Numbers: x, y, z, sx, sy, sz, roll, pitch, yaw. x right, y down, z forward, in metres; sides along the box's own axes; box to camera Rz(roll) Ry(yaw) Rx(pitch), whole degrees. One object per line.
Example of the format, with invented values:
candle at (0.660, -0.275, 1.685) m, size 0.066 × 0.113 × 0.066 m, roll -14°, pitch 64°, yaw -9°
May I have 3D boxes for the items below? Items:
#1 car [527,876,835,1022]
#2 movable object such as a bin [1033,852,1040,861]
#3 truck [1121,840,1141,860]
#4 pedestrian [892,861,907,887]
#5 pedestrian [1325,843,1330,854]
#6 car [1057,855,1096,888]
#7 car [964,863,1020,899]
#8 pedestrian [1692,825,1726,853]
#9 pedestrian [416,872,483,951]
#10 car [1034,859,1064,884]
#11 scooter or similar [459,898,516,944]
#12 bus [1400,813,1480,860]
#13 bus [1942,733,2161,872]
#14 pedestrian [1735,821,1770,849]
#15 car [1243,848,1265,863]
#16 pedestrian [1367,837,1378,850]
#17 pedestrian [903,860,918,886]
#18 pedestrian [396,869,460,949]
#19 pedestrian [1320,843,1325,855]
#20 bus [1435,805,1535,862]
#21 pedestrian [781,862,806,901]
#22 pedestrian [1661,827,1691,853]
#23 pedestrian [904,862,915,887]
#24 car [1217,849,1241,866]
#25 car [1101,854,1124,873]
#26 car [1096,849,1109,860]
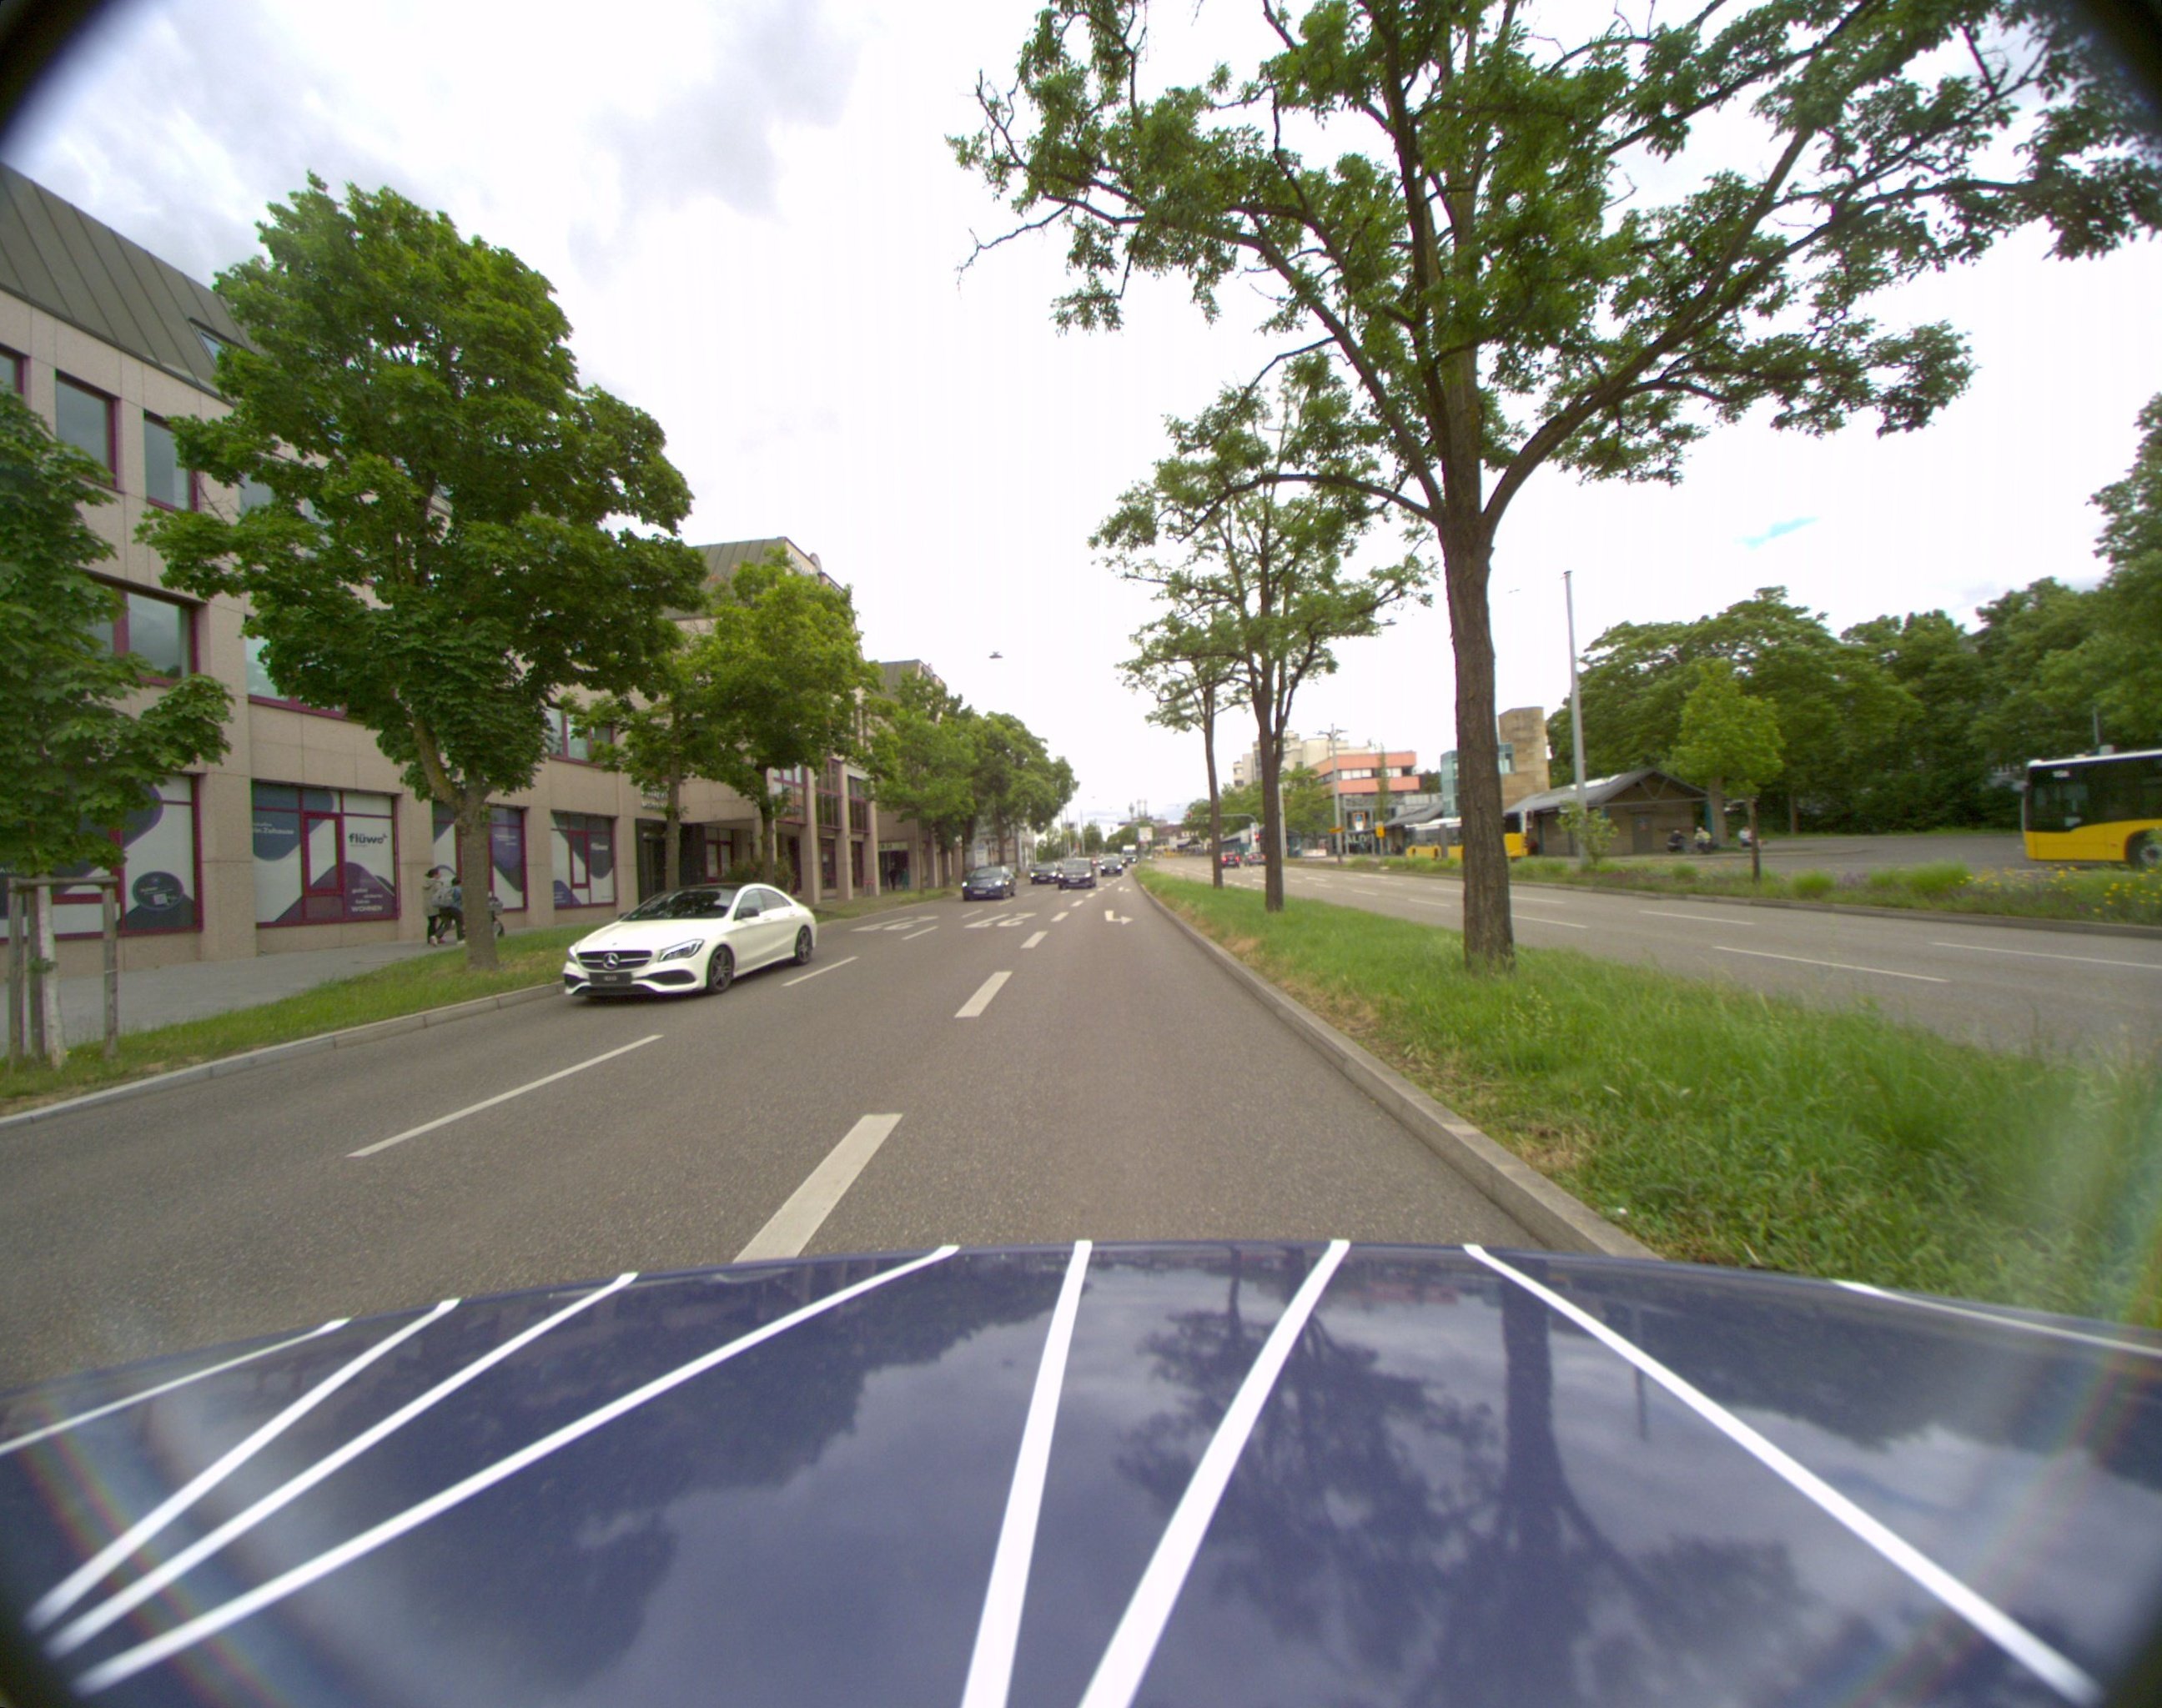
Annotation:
car at (-5.461, 1.195, 11.263) m, size 1.798 × 1.464 × 4.700 m, roll -3°, pitch 0°, yaw 3°
movable object such as a bin at (-5.236, 0.291, 89.574) m, size 0.627 × 1.097 × 0.710 m, roll -3°, pitch 0°, yaw 5°
truck at (8.808, -0.723, 134.681) m, size 3.118 × 3.209 × 6.524 m, roll -4°, pitch 1°, yaw 1°
pedestrian at (-12.071, 1.318, 50.541) m, size 0.659 × 1.681 × 0.843 m, roll -1°, pitch 1°, yaw 5°
pedestrian at (33.248, -0.733, 102.368) m, size 0.485 × 1.539 × 0.383 m, roll -3°, pitch 0°, yaw -6°
car at (-0.247, 0.920, 41.311) m, size 1.972 × 1.631 × 4.312 m, roll -1°, pitch 0°, yaw 0°
car at (-3.844, 1.132, 33.421) m, size 1.972 × 1.430 × 4.312 m, roll -1°, pitch 0°, yaw 0°
pedestrian at (30.262, -0.730, 36.617) m, size 0.859 × 1.283 × 0.894 m, roll -3°, pitch 0°, yaw -22°
pedestrian at (-13.792, 1.235, 16.626) m, size 0.556 × 1.643 × 0.962 m, roll -1°, pitch 0°, yaw 7°
car at (-2.137, 1.140, 51.411) m, size 1.768 × 1.440 × 4.420 m, roll -3°, pitch 0°, yaw 0°
scooter or similar at (-13.688, 1.535, 17.534) m, size 0.585 × 0.988 × 0.847 m, roll -1°, pitch 0°, yaw 7°
bus at (27.356, -1.277, 58.399) m, size 2.781 × 3.113 × 9.444 m, roll -5°, pitch 0°, yaw 9°
bus at (25.943, -1.237, 16.400) m, size 3.090 × 3.144 × 10.740 m, roll -3°, pitch 0°, yaw 5°
pedestrian at (31.753, -0.878, 35.933) m, size 0.895 × 1.247 × 0.858 m, roll -3°, pitch 0°, yaw 2°
car at (18.226, 0.146, 80.197) m, size 1.819 × 1.499 × 4.001 m, roll -3°, pitch 0°, yaw 6°
pedestrian at (33.993, -1.195, 88.655) m, size 0.993 × 1.452 × 0.591 m, roll -3°, pitch 0°, yaw -18°
pedestrian at (-11.275, 1.257, 50.263) m, size 0.659 × 1.681 × 0.843 m, roll -1°, pitch 1°, yaw 5°
pedestrian at (-14.478, 1.207, 16.868) m, size 0.568 × 1.690 × 0.829 m, roll -3°, pitch 1°, yaw 5°
pedestrian at (32.486, -0.666, 102.314) m, size 0.529 × 1.539 × 0.754 m, roll -3°, pitch 0°, yaw 17°
bus at (25.826, -1.206, 49.162) m, size 2.814 × 3.113 × 9.306 m, roll -5°, pitch 0°, yaw 10°
pedestrian at (-12.886, 1.234, 34.132) m, size 0.596 × 1.695 × 0.970 m, roll -3°, pitch 0°, yaw 6°
pedestrian at (30.340, -0.719, 38.768) m, size 0.859 × 1.247 × 0.894 m, roll -3°, pitch 0°, yaw -27°
pedestrian at (-10.998, 1.304, 48.710) m, size 0.562 × 1.541 × 0.544 m, roll -1°, pitch 1°, yaw 5°
car at (14.416, 0.330, 74.343) m, size 1.662 × 1.499 × 3.769 m, roll -3°, pitch 0°, yaw 2°
car at (2.653, 0.795, 64.037) m, size 1.763 × 1.531 × 4.048 m, roll -2°, pitch 0°, yaw 3°
car at (3.867, 0.037, 134.799) m, size 2.020 × 1.759 × 4.001 m, roll -3°, pitch 0°, yaw 3°
